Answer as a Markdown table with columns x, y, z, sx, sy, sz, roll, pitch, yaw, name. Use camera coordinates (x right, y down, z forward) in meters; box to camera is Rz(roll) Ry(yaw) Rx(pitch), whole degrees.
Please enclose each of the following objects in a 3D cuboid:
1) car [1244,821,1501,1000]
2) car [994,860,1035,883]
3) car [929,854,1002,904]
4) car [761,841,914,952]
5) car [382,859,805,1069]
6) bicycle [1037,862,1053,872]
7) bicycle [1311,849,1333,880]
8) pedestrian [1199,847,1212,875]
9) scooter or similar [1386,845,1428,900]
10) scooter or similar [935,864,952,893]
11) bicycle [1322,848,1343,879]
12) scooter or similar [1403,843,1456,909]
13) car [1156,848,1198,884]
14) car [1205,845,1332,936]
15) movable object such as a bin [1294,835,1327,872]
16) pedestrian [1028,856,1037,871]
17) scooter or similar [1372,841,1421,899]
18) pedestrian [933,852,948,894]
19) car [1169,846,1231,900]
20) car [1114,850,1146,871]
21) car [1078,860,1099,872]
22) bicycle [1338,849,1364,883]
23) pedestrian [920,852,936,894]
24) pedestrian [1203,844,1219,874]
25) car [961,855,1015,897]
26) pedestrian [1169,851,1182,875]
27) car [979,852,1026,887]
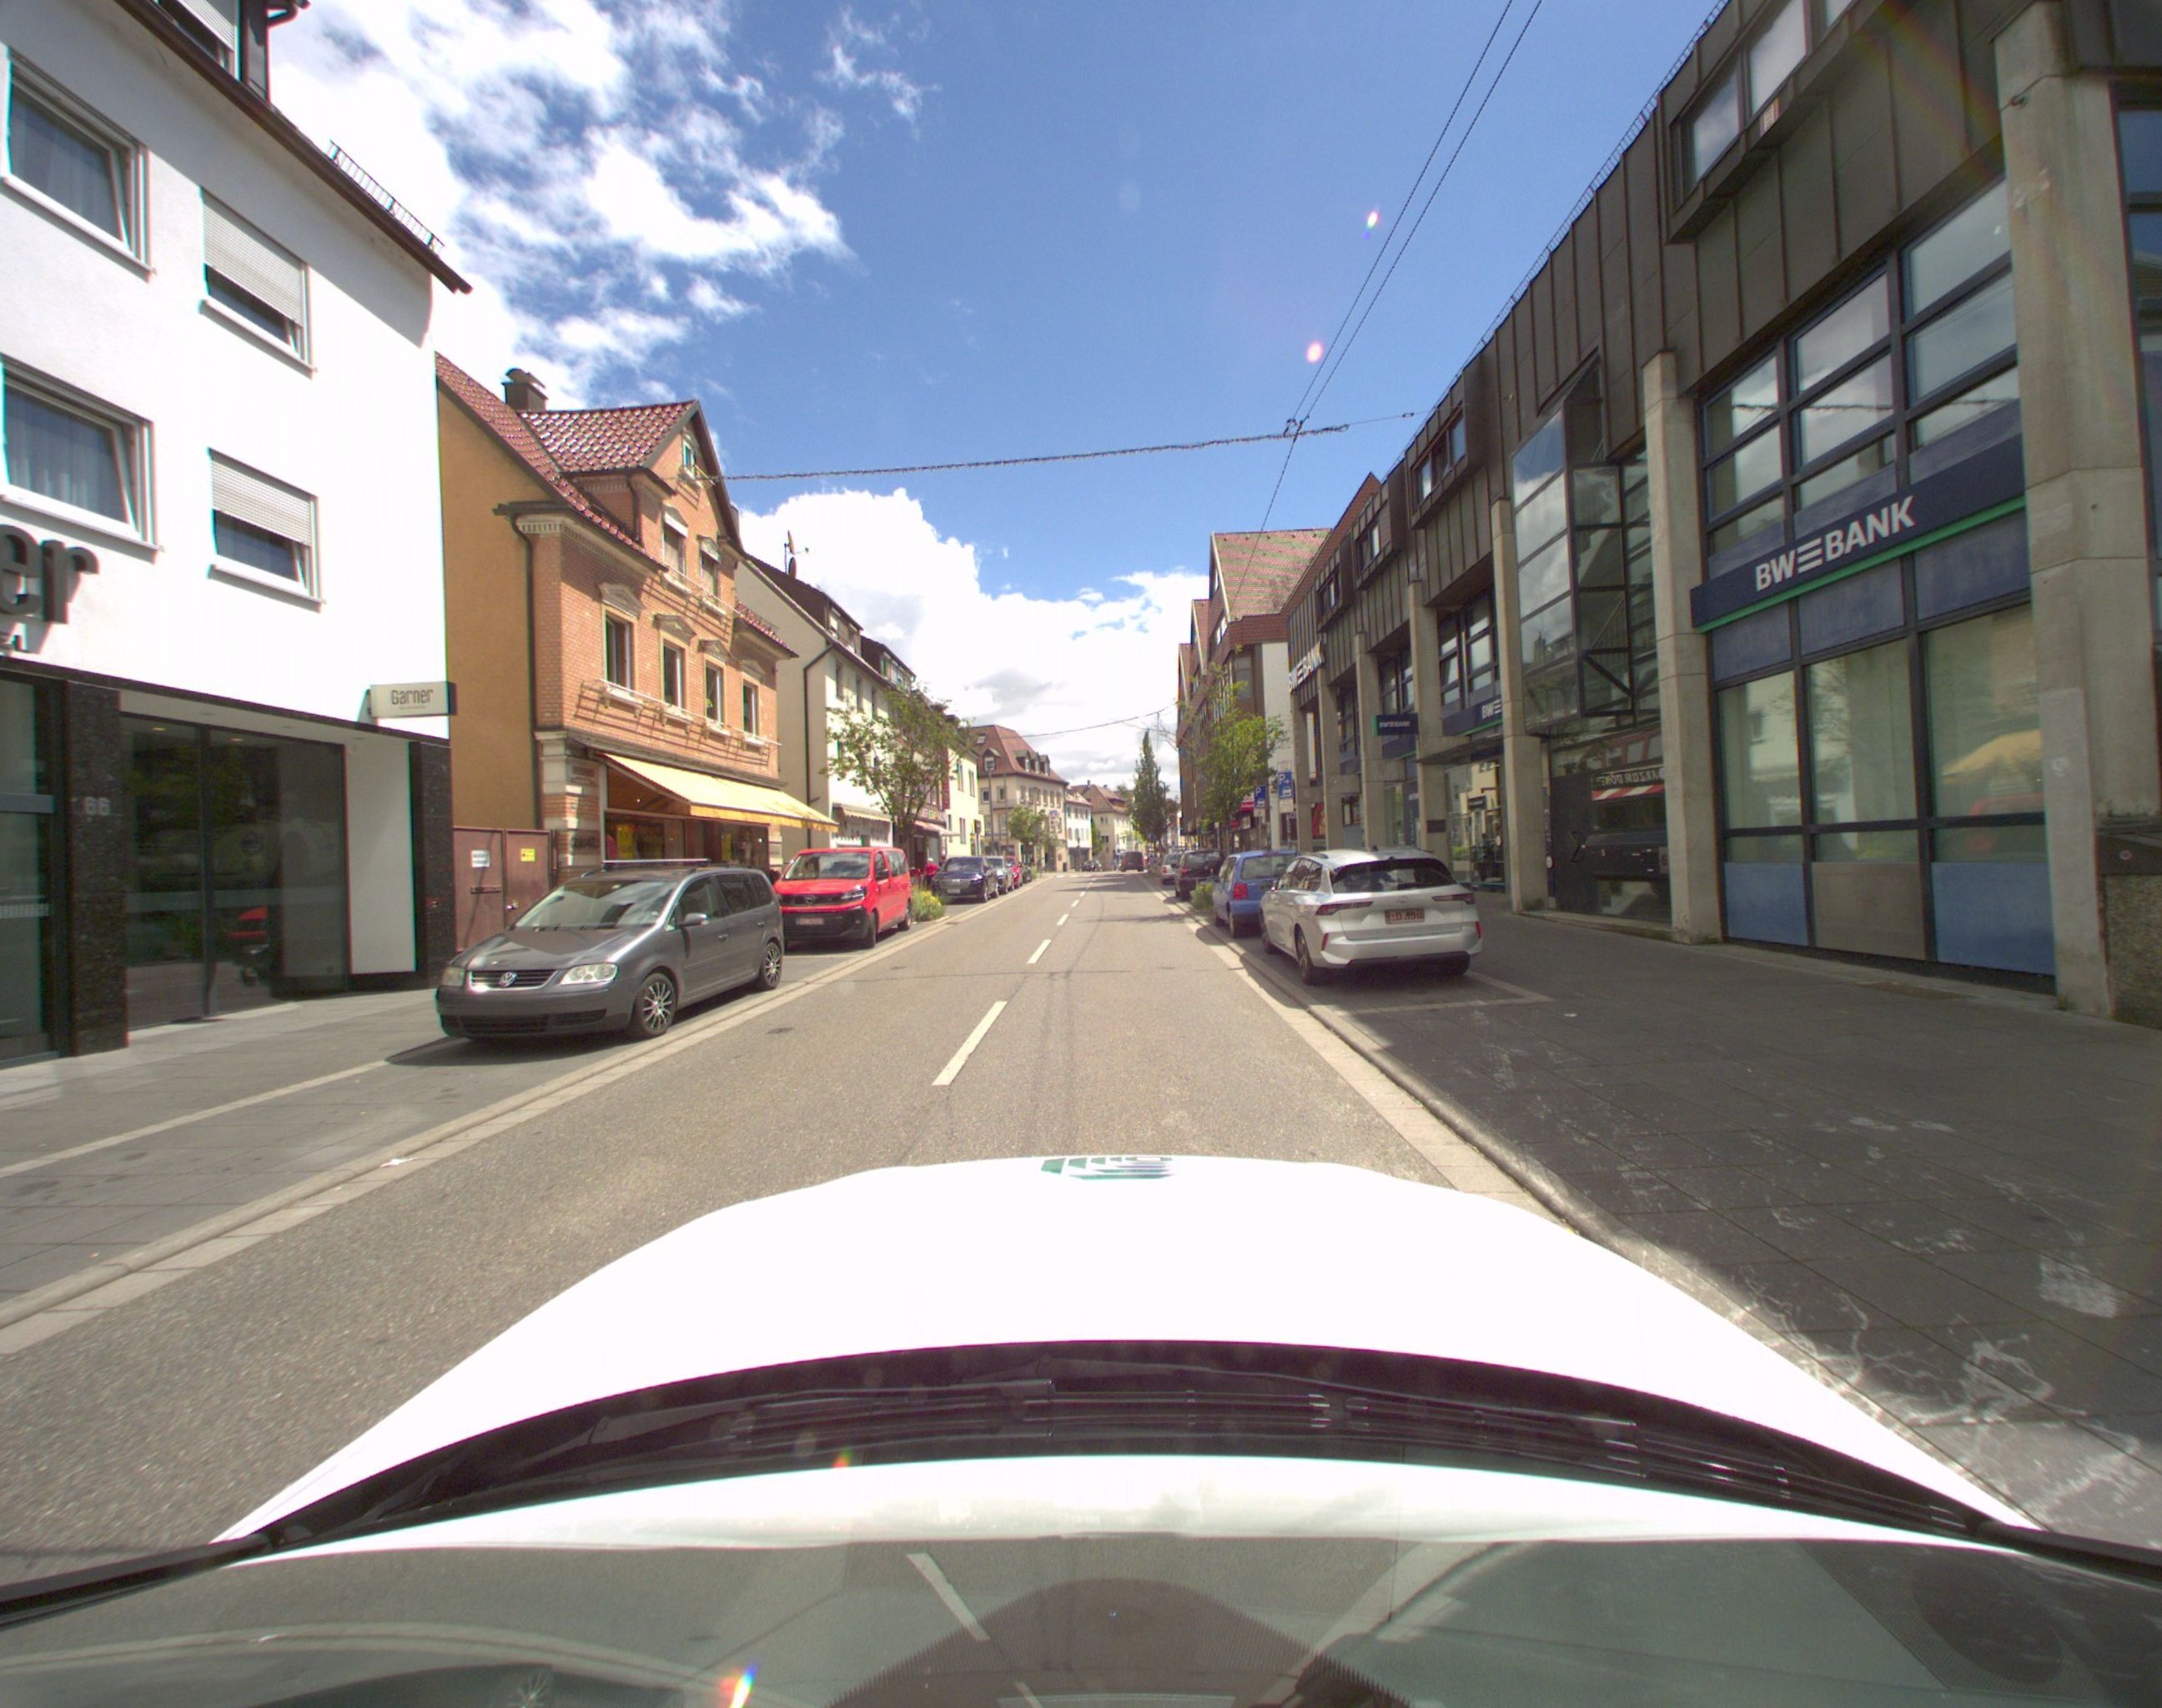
| x | y | z | sx | sy | sz | roll | pitch | yaw | name |
| --- | --- | --- | --- | --- | --- | --- | --- | --- | --- |
| 3.267 | 0.526 | 10.121 | 1.714 | 1.576 | 4.433 | -6 | 0 | 3 | car |
| -3.784 | 0.971 | 47.115 | 1.812 | 1.223 | 4.526 | 0 | 0 | 2 | car |
| -4.063 | 0.835 | 29.287 | 1.792 | 1.598 | 4.391 | -2 | 0 | 2 | car |
| -4.711 | 0.761 | 16.550 | 1.812 | 1.889 | 4.836 | -1 | -1 | -2 | car |
| -4.879 | 0.955 | 9.089 | 1.808 | 1.755 | 4.468 | -1 | -1 | 4 | car |
| -3.758 | 1.339 | 85.109 | 1.619 | 1.031 | 0.570 | -1 | -1 | 17 | bicycle |
| 8.812 | 0.359 | 29.849 | 0.423 | 1.081 | 1.504 | -3 | 0 | 4 | bicycle |
| 8.110 | 0.445 | 53.251 | 0.734 | 1.814 | 0.712 | -1 | -1 | 2 | pedestrian |
| 7.739 | 0.432 | 19.385 | 0.420 | 1.246 | 1.562 | -1 | -1 | 2 | scooter or similar |
| -5.613 | 0.983 | 33.270 | 0.560 | 1.151 | 0.985 | -1 | -1 | -1 | scooter or similar |
| 9.281 | 0.364 | 30.073 | 0.423 | 1.119 | 1.503 | -1 | -1 | 4 | bicycle |
| 6.891 | 0.424 | 16.169 | 0.420 | 1.246 | 1.562 | -1 | -1 | 2 | scooter or similar |
| 4.475 | 0.538 | 38.341 | 1.603 | 1.495 | 3.798 | -5 | 0 | 4 | car |
| 3.432 | 0.642 | 15.640 | 1.714 | 1.494 | 4.113 | -1 | -1 | 3 | car |
| 9.773 | -0.018 | 34.708 | 1.137 | 1.528 | 1.033 | -1 | -1 | 5 | movable object such as a bin |
| -5.223 | 1.018 | 87.307 | 0.620 | 1.532 | 0.864 | -1 | -1 | 26 | pedestrian |
| 6.967 | 0.349 | 18.029 | 0.405 | 1.246 | 1.321 | -1 | -1 | -8 | scooter or similar |
| -5.620 | 0.742 | 32.526 | 0.512 | 1.648 | 0.472 | -1 | -1 | 0 | pedestrian |
| 3.764 | 0.554 | 26.259 | 1.602 | 1.532 | 3.798 | -3 | 0 | 4 | car |
| 4.477 | 0.638 | 75.406 | 2.039 | 1.848 | 4.986 | -1 | -1 | -8 | car |
| 0.928 | 1.435 | 97.767 | 1.613 | 1.486 | 3.819 | -1 | -1 | 14 | car |
| 9.246 | 0.399 | 27.981 | 0.423 | 1.119 | 1.743 | -1 | -1 | 4 | bicycle |
| -6.148 | 0.771 | 32.644 | 0.499 | 1.648 | 0.574 | -1 | -1 | 1 | pedestrian |
| 7.426 | 0.283 | 46.532 | 0.658 | 1.706 | 0.642 | 0 | -1 | -21 | pedestrian |
| -3.930 | 0.897 | 35.044 | 1.794 | 1.604 | 4.349 | -2 | 0 | -1 | car |
| 6.444 | 0.590 | 55.661 | 0.781 | 1.615 | 0.800 | -1 | -1 | 2 | pedestrian |
| -3.819 | 0.731 | 40.317 | 1.793 | 1.604 | 4.218 | -2 | 0 | 0 | car |
